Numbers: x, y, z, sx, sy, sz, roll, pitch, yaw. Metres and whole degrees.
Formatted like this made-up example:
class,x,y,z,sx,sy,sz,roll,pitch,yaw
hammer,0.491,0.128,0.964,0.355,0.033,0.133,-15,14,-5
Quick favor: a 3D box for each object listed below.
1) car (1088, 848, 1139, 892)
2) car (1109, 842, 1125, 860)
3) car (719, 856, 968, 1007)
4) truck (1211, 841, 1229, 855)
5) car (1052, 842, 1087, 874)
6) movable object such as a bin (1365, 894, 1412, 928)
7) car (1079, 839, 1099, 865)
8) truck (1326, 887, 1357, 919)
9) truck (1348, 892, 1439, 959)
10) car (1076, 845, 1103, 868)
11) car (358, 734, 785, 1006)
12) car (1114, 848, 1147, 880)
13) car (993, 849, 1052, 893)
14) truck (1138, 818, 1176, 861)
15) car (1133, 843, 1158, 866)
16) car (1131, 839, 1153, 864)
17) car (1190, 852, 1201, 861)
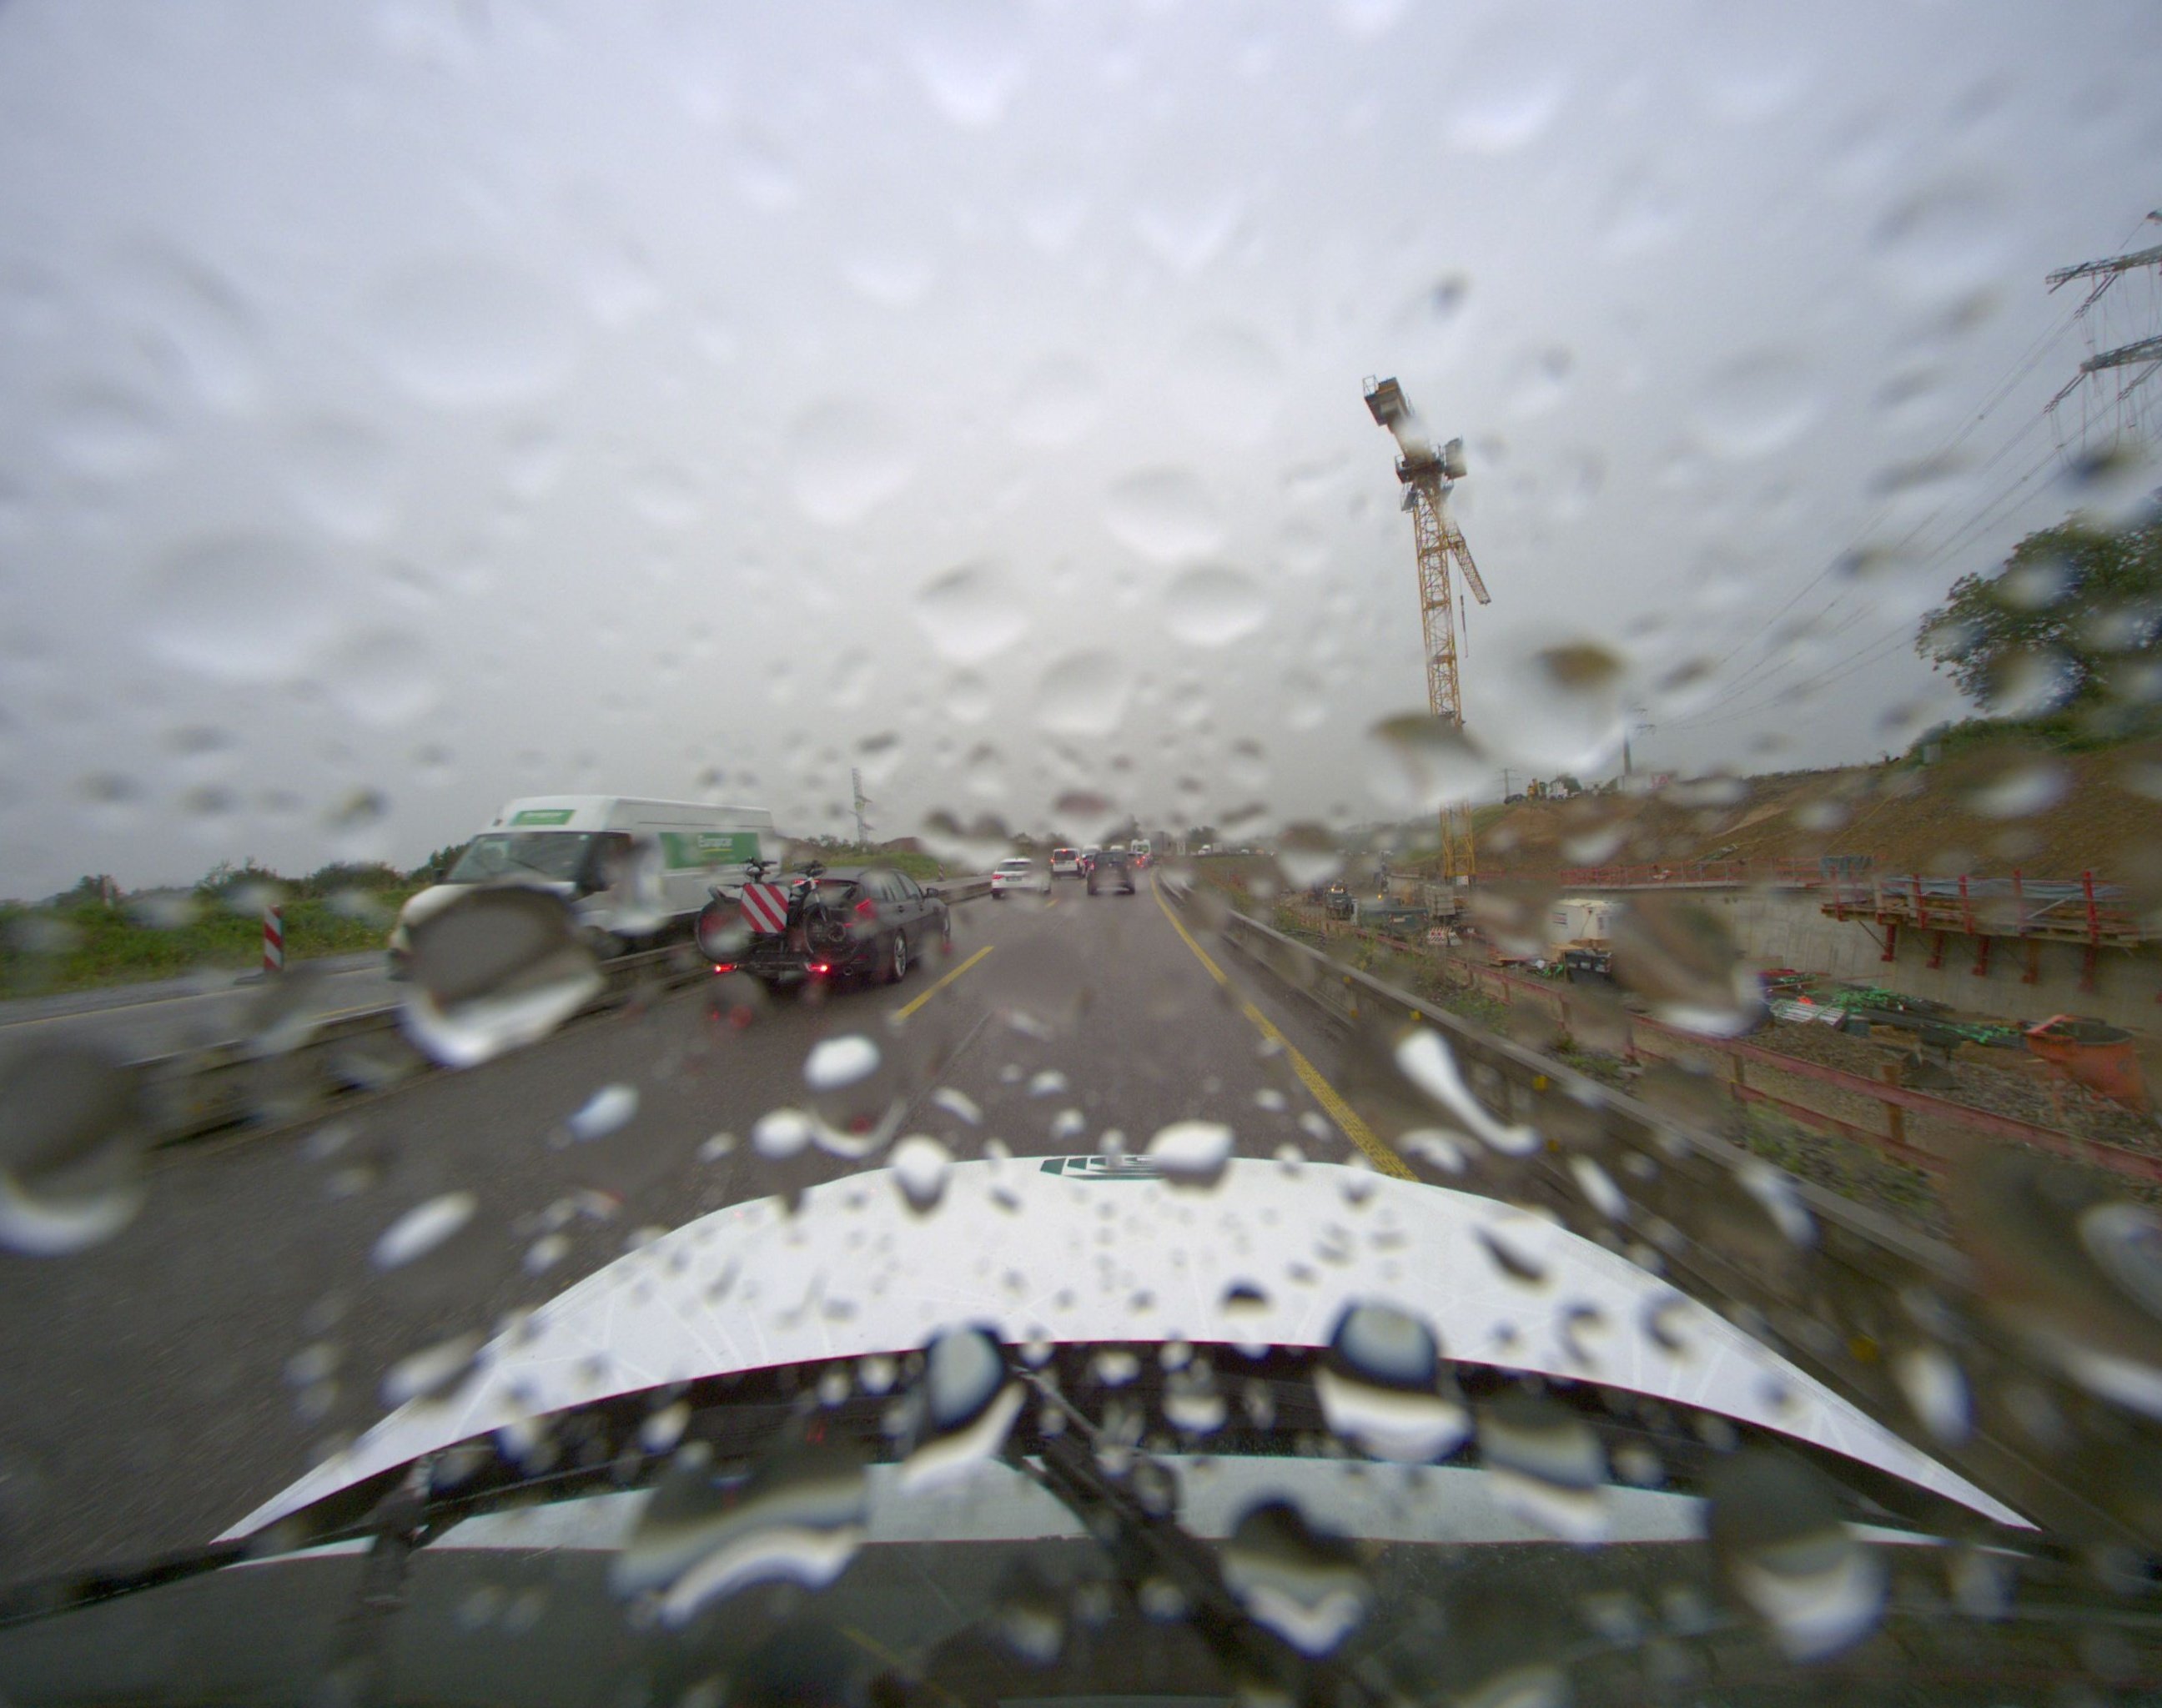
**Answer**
class,x,y,z,sx,sy,sz,roll,pitch,yaw
car,1.342,0.621,31.960,1.818,1.591,4.005,-1,-1,5
car,5.362,-0.493,120.142,2.015,2.548,5.965,-2,0,4
car,-2.983,0.854,11.705,1.728,1.462,5.632,-1,1,2
truck,38.412,-1.792,224.686,3.443,3.715,8.459,-2,0,19
car,-0.632,0.263,48.800,1.819,1.815,4.003,-1,-1,3
movable object such as a bin,26.339,4.885,69.896,3.133,2.738,2.974,-1,-1,7
car,0.997,-0.264,96.583,1.985,3.013,5.785,-1,0,3
truck,32.468,6.035,101.882,2.712,3.491,9.093,-1,-1,11
truck,19.406,4.297,51.273,2.688,3.503,8.955,-1,-1,3
car,0.744,0.237,67.450,1.817,1.815,4.007,-1,-1,6
car,-7.065,0.181,12.783,1.986,3.045,7.174,-1,0,2
car,3.015,0.596,48.997,1.817,1.815,4.006,-1,-1,6
car,-2.083,0.607,30.038,1.820,1.499,4.000,-1,-1,1
truck,9.782,-1.717,103.685,3.520,5.077,10.475,-1,-1,12
car,5.388,0.071,67.701,1.816,1.815,4.010,-1,-1,9
car,6.226,-0.252,82.278,1.815,2.437,4.168,-1,-1,9
car,28.549,0.628,202.490,2.019,2.256,4.175,-1,-1,16
